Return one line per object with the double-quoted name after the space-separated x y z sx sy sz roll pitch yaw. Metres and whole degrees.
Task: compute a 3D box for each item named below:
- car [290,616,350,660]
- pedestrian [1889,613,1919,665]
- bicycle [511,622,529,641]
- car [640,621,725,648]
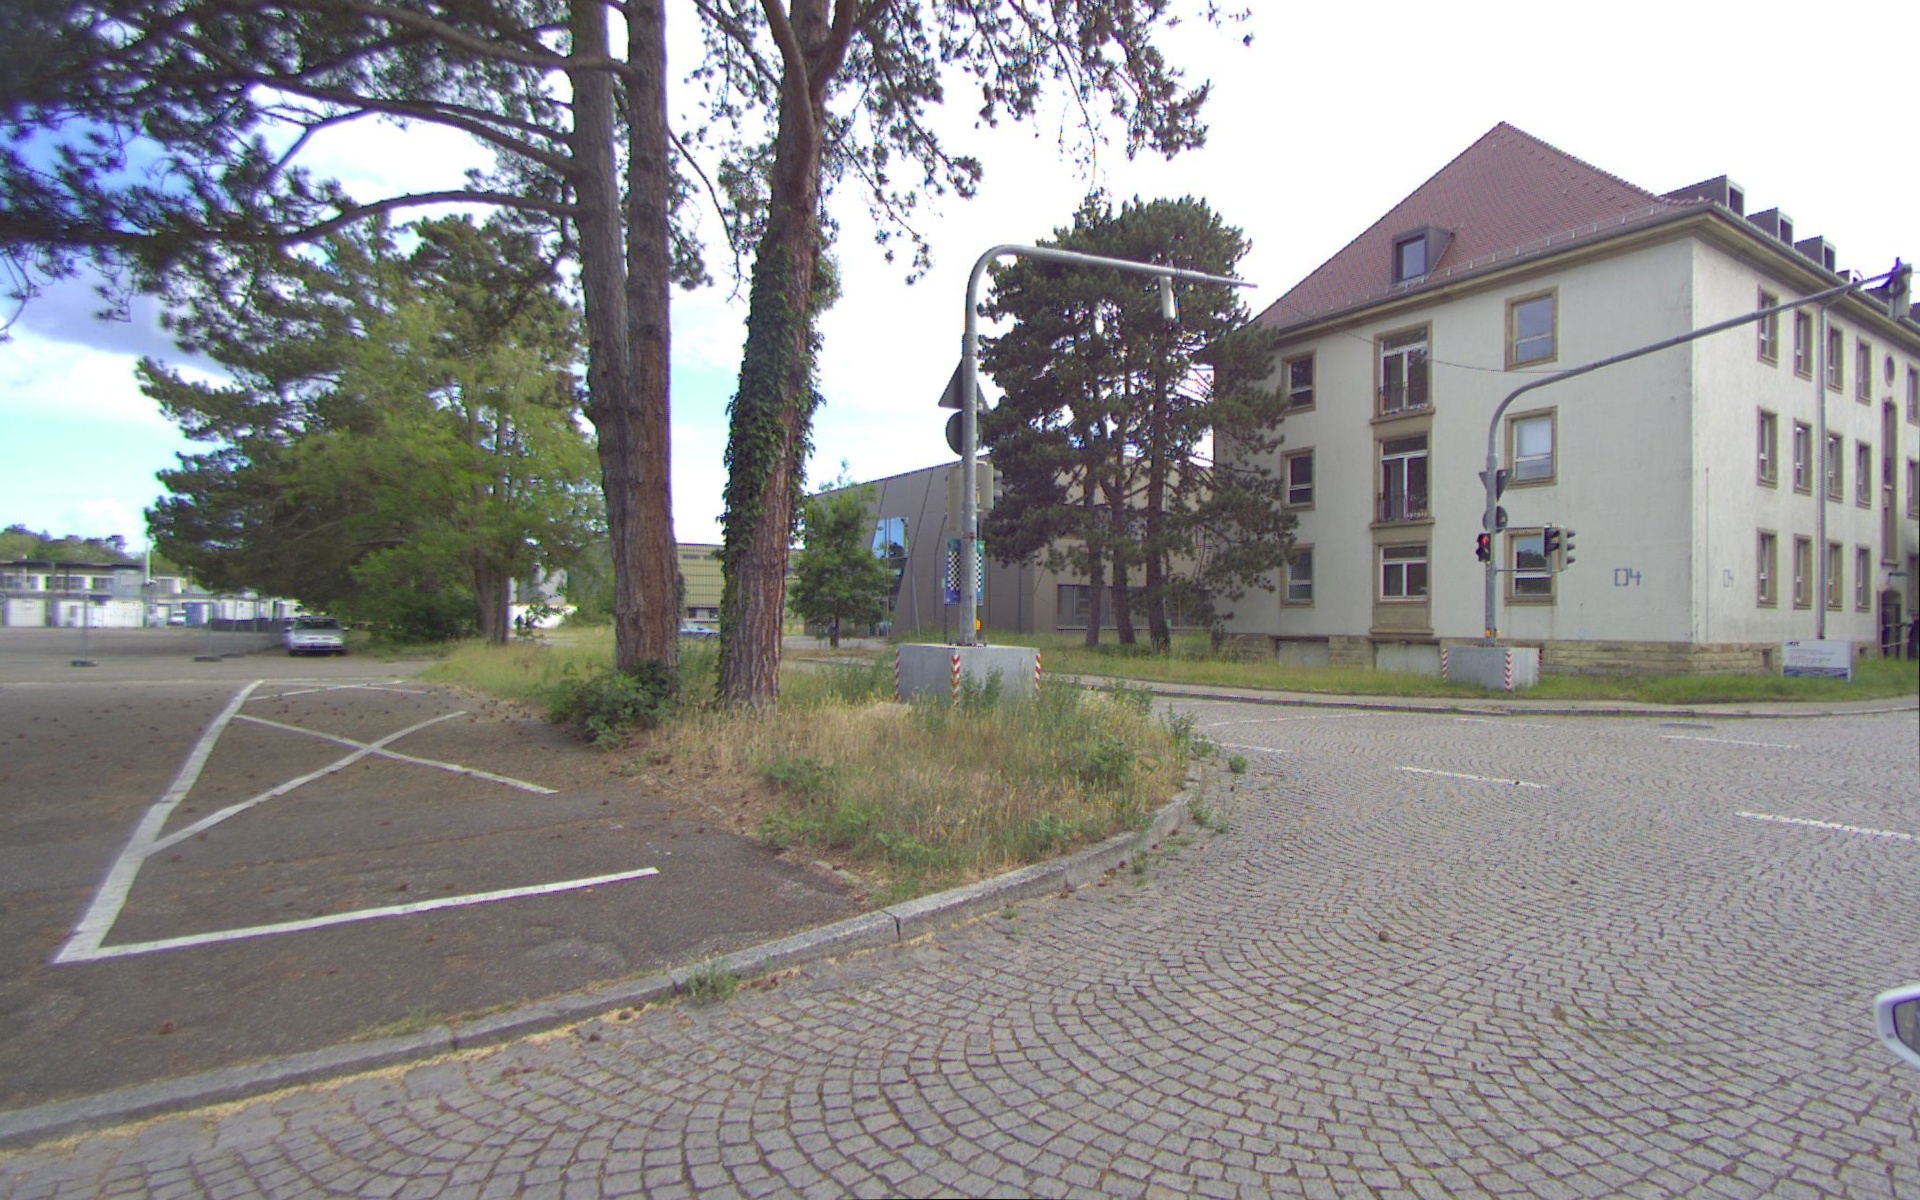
-23.474 1.362 36.783 1.718 1.451 4.121 2 -1 -35 "car"
33.717 1.379 35.668 0.929 1.804 0.834 1 -1 -28 "pedestrian"
-33.235 2.381 75.870 0.818 1.395 2.022 2 0 -35 "bicycle"
-16.390 2.015 59.361 4.453 1.482 1.915 -1 0 -37 "car"
